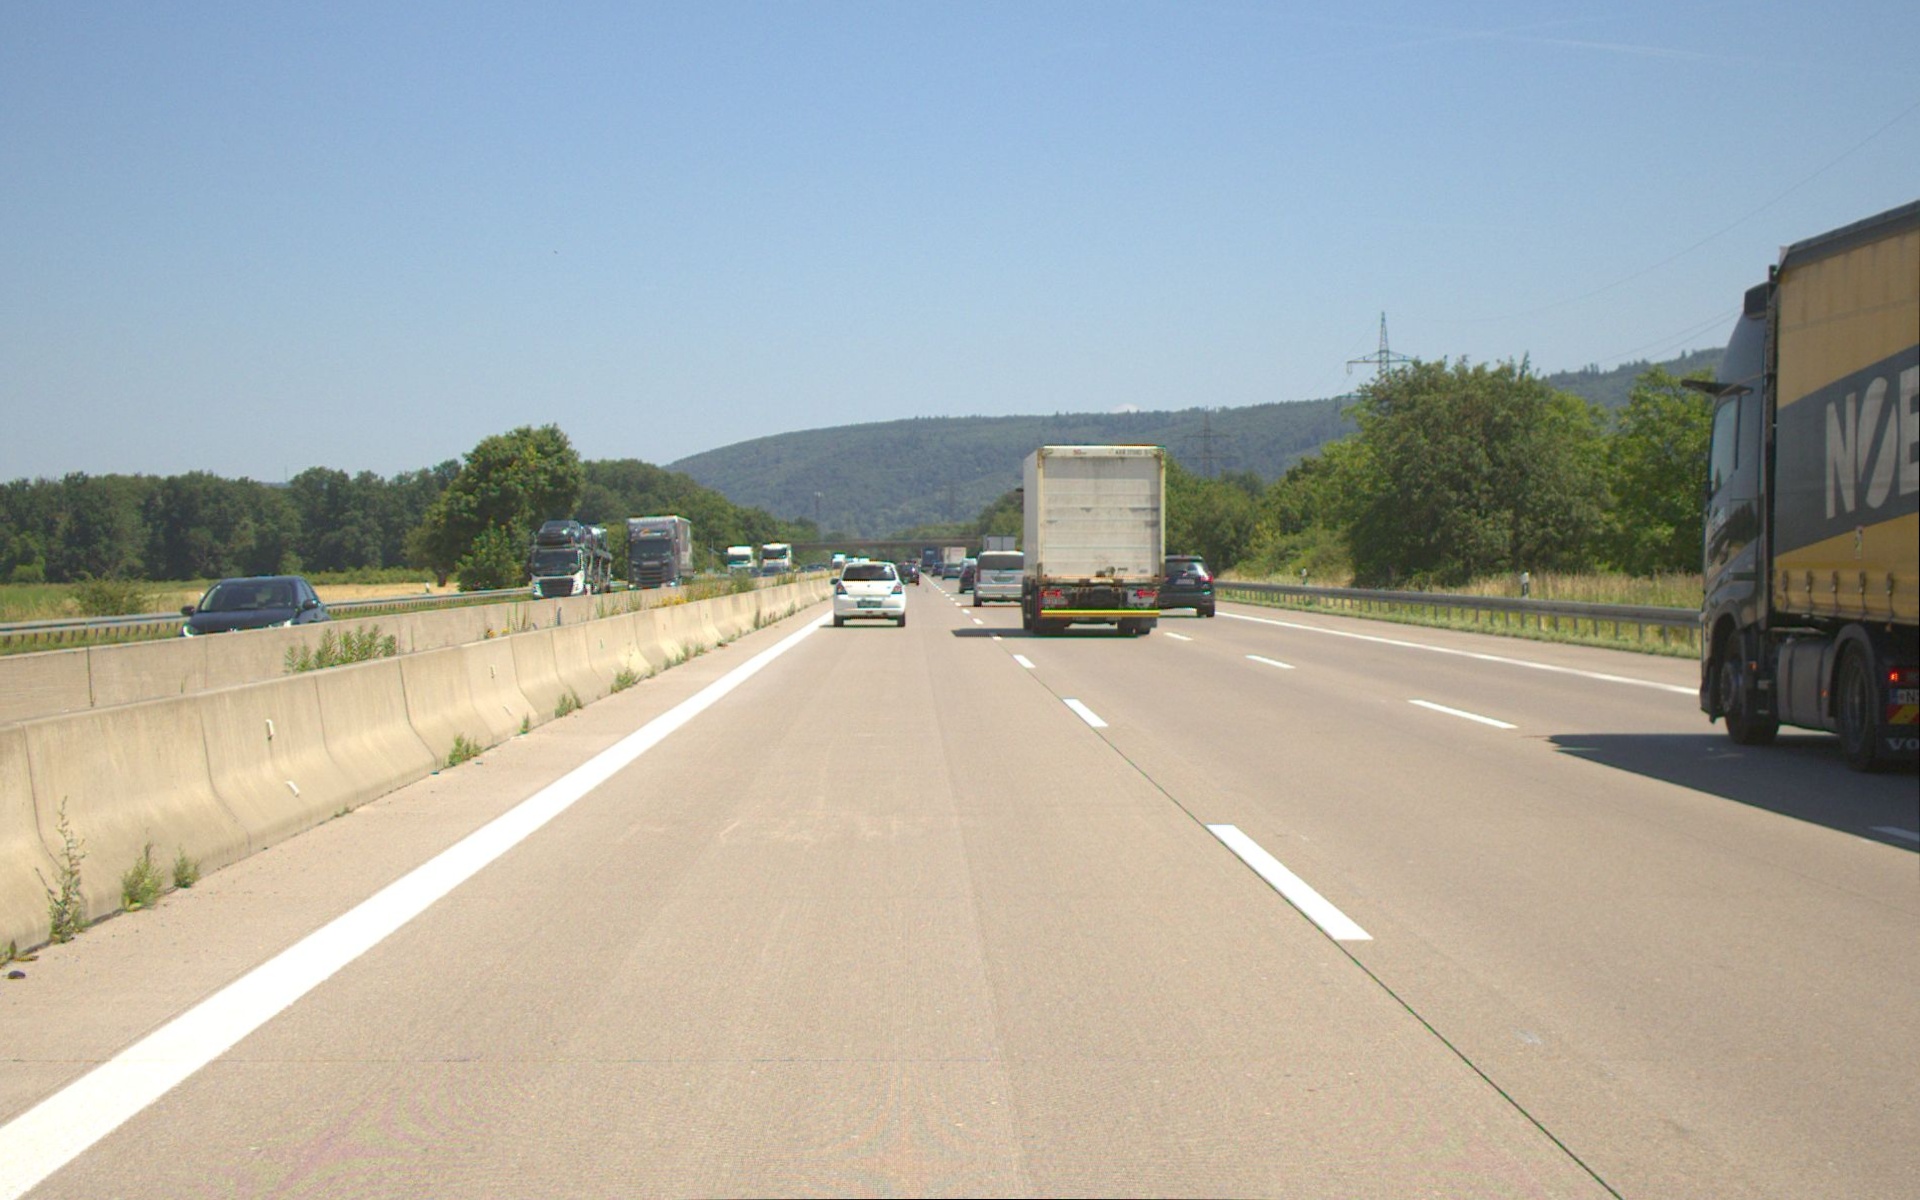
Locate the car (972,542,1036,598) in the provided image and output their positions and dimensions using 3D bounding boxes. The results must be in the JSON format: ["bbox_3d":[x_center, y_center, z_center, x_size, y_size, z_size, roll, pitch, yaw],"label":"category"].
[{"bbox_3d":[1.478,-1.032,117.562,1.993,1.842,4.000,1,1,-1],"label":"car"}]

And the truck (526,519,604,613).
[{"bbox_3d":[-19.642,-1.693,171.331,3.231,4.591,6.251,1,1,-1],"label":"truck"}]

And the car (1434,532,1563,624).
[{"bbox_3d":[11.606,-0.485,74.363,1.993,1.842,4.000,2,0,-1],"label":"car"}]

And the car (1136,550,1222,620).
[{"bbox_3d":[6.095,-0.439,96.119,1.993,1.842,4.000,2,0,-1],"label":"car"}]

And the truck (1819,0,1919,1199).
[{"bbox_3d":[2.942,-0.687,4.820,1.993,4.240,5.195,1,0,-1],"label":"truck"}]

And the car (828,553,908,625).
[{"bbox_3d":[-2.175,-0.270,80.836,1.819,1.656,4.000,0,1,-2],"label":"car"}]

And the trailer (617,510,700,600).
[{"bbox_3d":[-15.781,-2.359,180.790,3.267,4.460,14.452,-1,1,-1],"label":"trailer"}]

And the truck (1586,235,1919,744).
[{"bbox_3d":[7.286,-0.938,31.281,1.993,4.178,5.706,1,1,-1],"label":"truck"}]

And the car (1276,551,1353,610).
[{"bbox_3d":[11.753,-0.657,114.209,1.993,1.842,4.000,2,0,-1],"label":"car"}]

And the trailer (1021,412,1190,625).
[{"bbox_3d":[2.770,-1.548,68.341,2.580,3.864,10.374,1,1,-2],"label":"trailer"}]

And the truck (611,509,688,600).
[{"bbox_3d":[-15.663,-2.289,173.841,3.267,4.460,7.190,-1,1,-1],"label":"truck"}]

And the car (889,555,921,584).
[{"bbox_3d":[-3.636,-2.027,227.195,1.993,1.842,4.000,2,0,-1],"label":"car"}]

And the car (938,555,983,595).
[{"bbox_3d":[0.017,-1.209,167.231,1.993,1.842,4.000,2,0,-2],"label":"car"}]

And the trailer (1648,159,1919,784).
[{"bbox_3d":[7.398,-0.863,23.893,1.993,4.178,14.747,1,1,-1],"label":"trailer"}]

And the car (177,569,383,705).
[{"bbox_3d":[-9.877,0.487,50.344,1.993,1.856,5.467,1,1,-1],"label":"car"}]

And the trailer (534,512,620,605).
[{"bbox_3d":[-19.770,-2.150,178.295,3.231,4.591,12.294,1,1,-1],"label":"trailer"}]

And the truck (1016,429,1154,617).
[{"bbox_3d":[2.631,-1.621,73.702,2.580,3.864,4.984,1,0,-2],"label":"truck"}]
